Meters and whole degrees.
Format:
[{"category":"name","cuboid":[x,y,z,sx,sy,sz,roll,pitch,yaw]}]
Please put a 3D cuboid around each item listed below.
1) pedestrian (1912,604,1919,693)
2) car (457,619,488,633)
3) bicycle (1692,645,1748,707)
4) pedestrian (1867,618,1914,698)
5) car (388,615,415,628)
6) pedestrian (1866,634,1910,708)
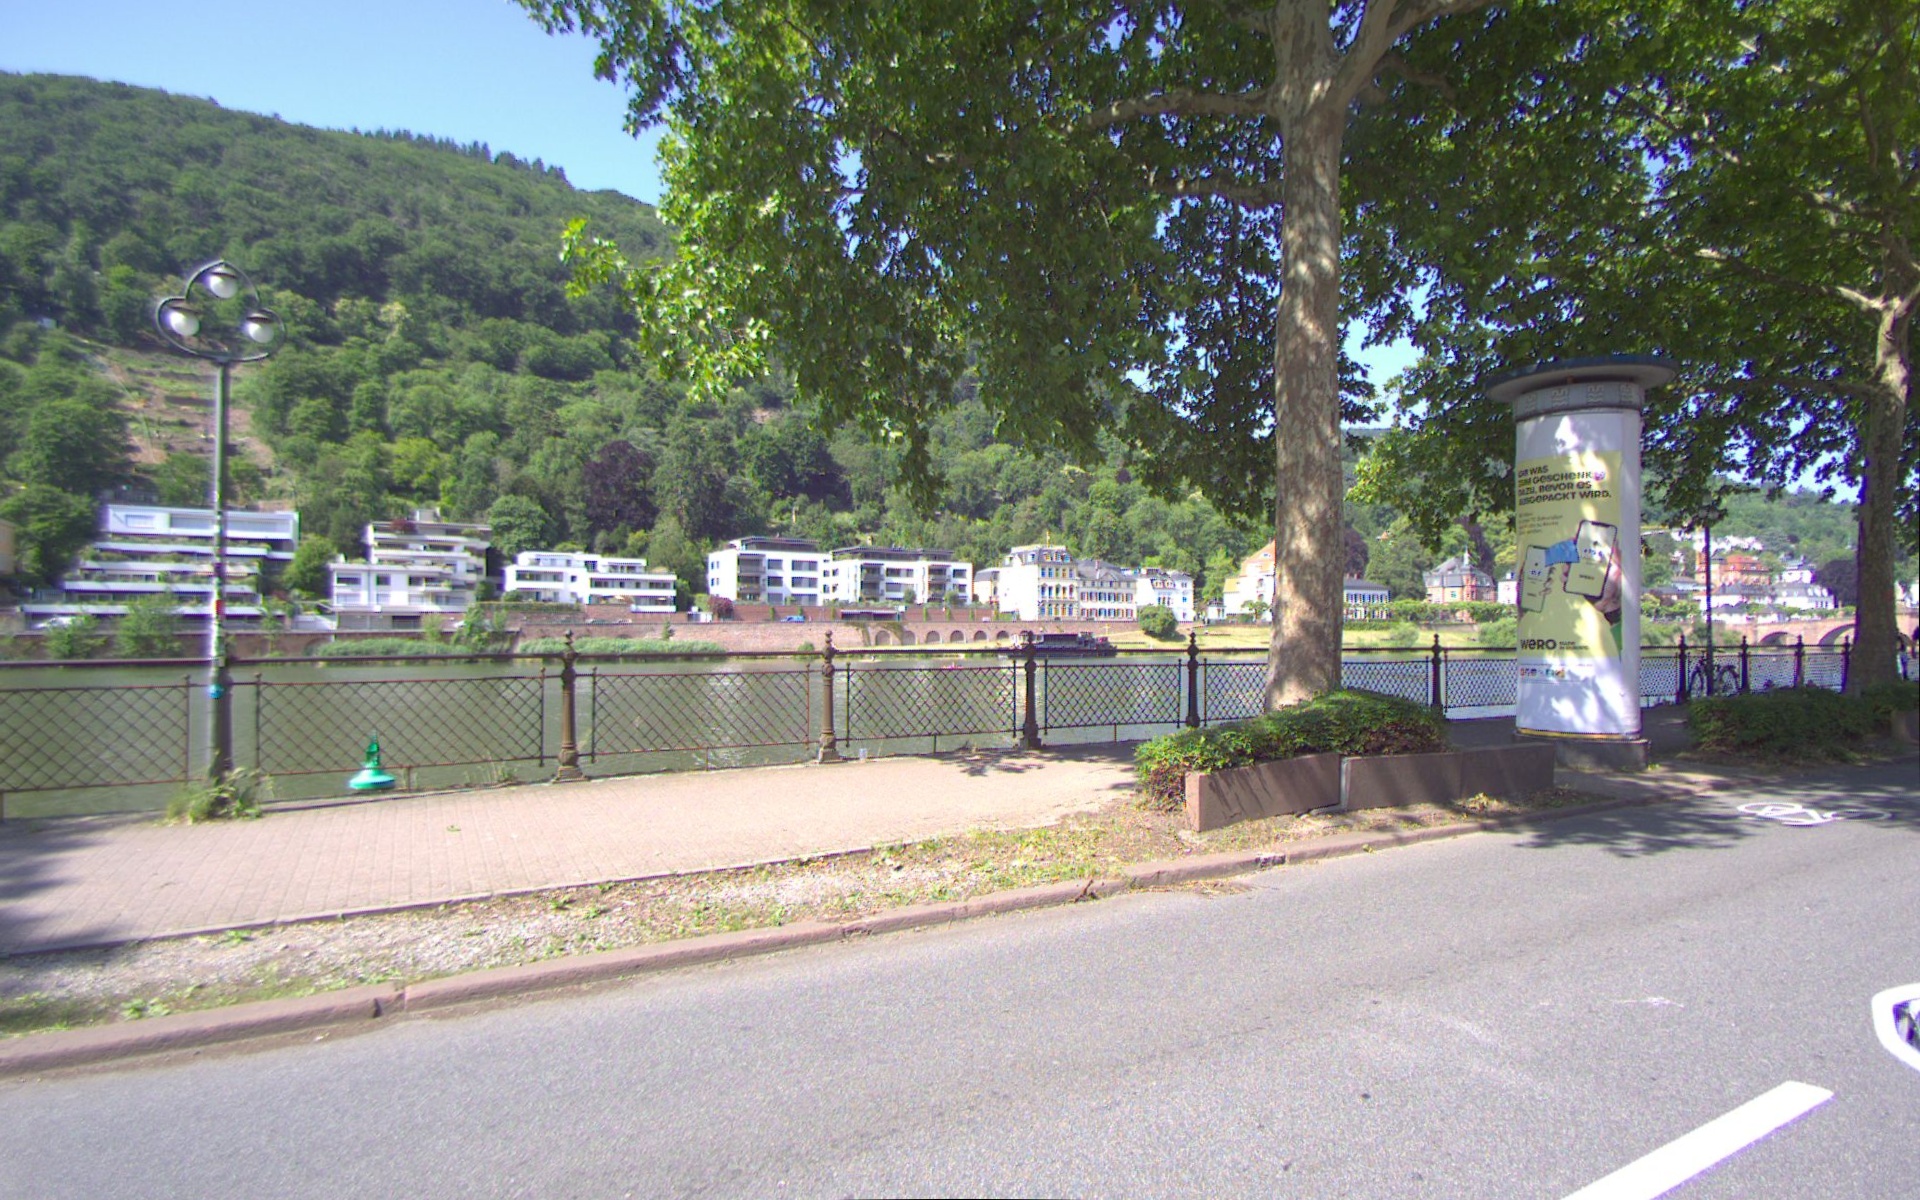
[{"category":"pedestrian","cuboid":[20.899,1.057,21.572,0.431,1.912,0.531,1,1,-30]},{"category":"car","cuboid":[-72.919,3.907,150.190,3.953,2.040,1.984,2,0,-30]},{"category":"bicycle","cuboid":[14.351,1.419,18.957,1.281,1.106,0.357,1,2,-31]},{"category":"pedestrian","cuboid":[20.314,1.253,21.940,0.577,1.708,0.598,1,-2,-31]},{"category":"car","cuboid":[-94.814,3.649,170.451,3.953,2.041,1.984,0,1,-30]},{"category":"pedestrian","cuboid":[17.803,1.344,19.274,0.411,1.381,0.477,1,1,-26]}]
